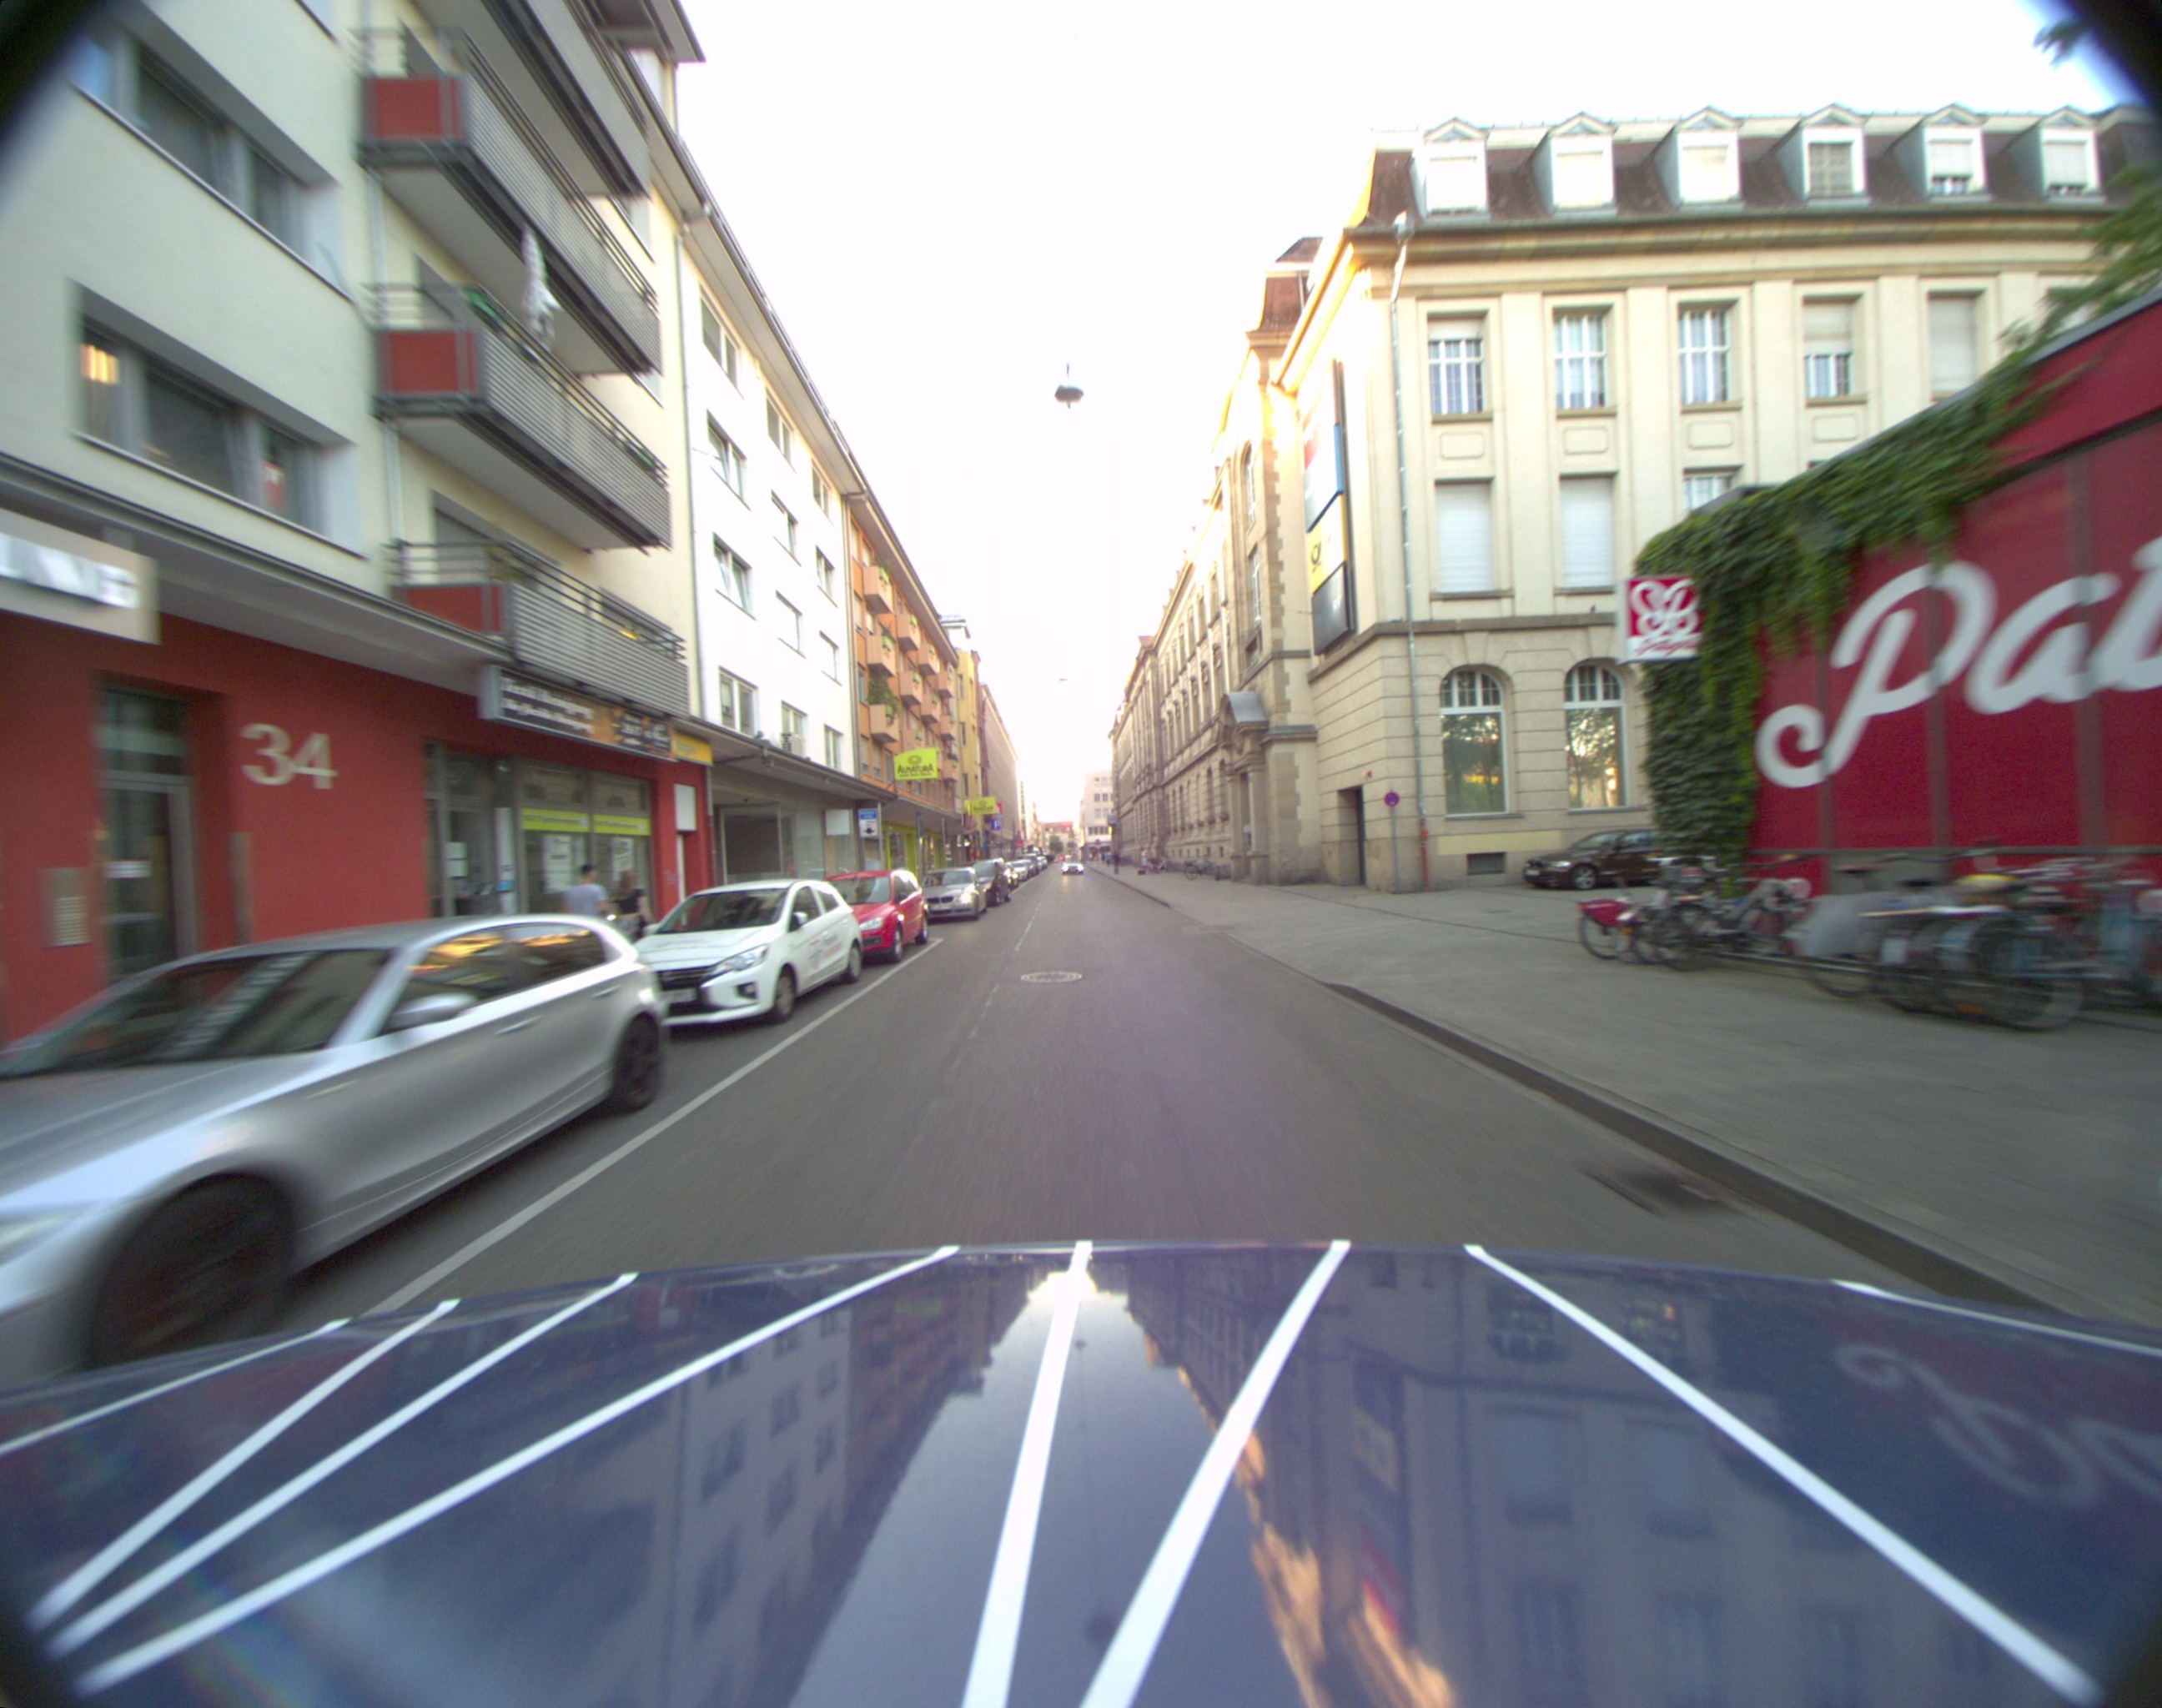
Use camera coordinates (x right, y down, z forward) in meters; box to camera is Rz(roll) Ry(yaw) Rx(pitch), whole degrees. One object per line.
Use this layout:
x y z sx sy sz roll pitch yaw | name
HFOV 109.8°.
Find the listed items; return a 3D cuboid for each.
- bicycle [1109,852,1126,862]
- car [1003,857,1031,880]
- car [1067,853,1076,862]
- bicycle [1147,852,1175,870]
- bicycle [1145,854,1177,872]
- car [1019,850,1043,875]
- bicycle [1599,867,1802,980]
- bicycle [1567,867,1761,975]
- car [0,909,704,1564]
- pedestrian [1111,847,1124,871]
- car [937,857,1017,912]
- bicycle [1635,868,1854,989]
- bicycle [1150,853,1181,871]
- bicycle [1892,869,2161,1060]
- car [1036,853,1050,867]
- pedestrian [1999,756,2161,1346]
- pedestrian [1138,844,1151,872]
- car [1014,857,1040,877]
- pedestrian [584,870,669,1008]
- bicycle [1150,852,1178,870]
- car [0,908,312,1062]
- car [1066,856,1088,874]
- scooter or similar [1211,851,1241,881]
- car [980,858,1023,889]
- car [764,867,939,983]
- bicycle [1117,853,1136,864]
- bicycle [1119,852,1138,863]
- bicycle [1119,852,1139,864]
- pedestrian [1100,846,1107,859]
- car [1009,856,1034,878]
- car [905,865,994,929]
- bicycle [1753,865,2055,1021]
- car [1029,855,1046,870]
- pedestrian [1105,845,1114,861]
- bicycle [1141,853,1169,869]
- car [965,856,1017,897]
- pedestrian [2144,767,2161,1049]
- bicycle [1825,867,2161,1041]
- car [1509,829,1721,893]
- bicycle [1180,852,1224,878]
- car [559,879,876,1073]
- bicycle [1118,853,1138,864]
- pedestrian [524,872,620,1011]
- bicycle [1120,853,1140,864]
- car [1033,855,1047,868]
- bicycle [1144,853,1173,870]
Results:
4.780 0.414 99.717 2.025 1.102 0.730 -5 1 -7 | bicycle
-4.496 1.025 53.726 1.696 1.403 4.638 -5 0 -3 | car
-2.063 0.791 164.406 1.824 1.728 3.999 -2 0 -2 | car
5.577 0.489 53.002 1.800 1.101 0.500 -4 1 -6 | bicycle
5.235 0.570 49.942 1.942 1.055 0.619 -4 1 -3 | bicycle
-4.633 0.755 71.096 1.851 2.046 5.053 -4 1 -1 | car
6.765 0.741 8.332 1.799 1.101 0.500 -3 1 -2 | bicycle
6.632 0.748 8.676 1.799 1.101 0.500 -3 1 -1 | bicycle
-3.786 1.210 3.717 1.703 1.443 4.458 -5 0 -2 | car
2.770 0.339 57.347 0.811 1.740 0.969 -4 1 -1 | pedestrian
-3.529 0.989 26.669 1.798 1.600 4.487 -5 0 4 | car
6.774 0.743 7.796 1.799 1.101 0.500 -3 1 -2 | bicycle
5.652 0.527 50.989 1.943 1.055 0.619 -4 1 -6 | bicycle
6.612 0.707 5.051 1.798 1.101 0.500 -4 1 2 | bicycle
-5.220 0.819 105.027 1.781 1.656 4.811 -4 1 -3 | car
3.476 0.569 2.081 0.650 1.740 0.985 -3 0 -1 | pedestrian
4.309 0.261 51.602 0.589 1.840 0.754 -5 1 -6 | pedestrian
-4.526 1.090 64.011 1.691 1.444 4.498 -5 0 1 | car
-5.652 1.030 9.479 0.649 1.652 0.655 0 1 1 | pedestrian
5.646 0.499 51.803 1.800 1.101 0.500 -4 1 -6 | bicycle
-11.655 1.449 8.599 1.744 1.329 4.000 -2 0 1 | car
-0.367 0.926 65.079 1.741 1.407 4.681 0 0 -2 | car
6.358 0.506 33.303 1.137 1.225 0.496 -4 1 -13 | scooter or similar
-4.190 1.011 40.877 1.696 1.406 4.756 -5 0 0 | car
-3.785 1.068 13.427 1.717 1.503 4.651 -5 0 -2 | car
5.064 0.465 85.092 1.943 1.072 0.730 -5 1 -7 | bicycle
5.127 0.383 81.738 1.942 1.072 0.748 -5 1 -2 | bicycle
5.246 0.447 83.007 1.943 1.072 0.730 -5 1 -7 | bicycle
3.138 -0.176 106.437 0.778 1.778 0.820 -4 1 -3 | pedestrian
-4.571 0.998 58.896 1.622 1.507 4.173 -5 0 -2 | car
-3.544 1.106 21.294 1.741 1.407 4.681 -5 0 -2 | car
6.608 0.700 6.154 1.798 1.101 0.500 -4 1 2 | bicycle
-5.020 0.963 88.025 1.661 1.439 4.307 -4 1 -1 | car
3.316 -0.133 87.707 0.831 1.735 0.769 -5 1 0 | pedestrian
5.504 0.539 56.469 1.942 1.055 0.619 -4 1 -2 | bicycle
-4.157 0.993 35.909 1.756 1.658 4.756 -5 0 0 | car
4.328 0.525 2.365 0.755 1.739 0.846 -4 0 -1 | pedestrian
6.600 0.703 5.521 1.798 1.101 0.500 -4 1 2 | bicycle
13.148 0.174 18.867 4.015 1.363 1.750 -2 0 -2 | car
5.910 0.516 37.086 1.944 1.055 0.619 -6 2 -15 | bicycle
-3.836 1.169 8.894 1.610 1.503 4.048 -5 0 0 | car
5.166 0.453 83.778 1.943 1.072 0.730 -5 1 -7 | bicycle
-6.335 1.057 9.492 0.649 1.652 0.794 0 1 1 | pedestrian
5.221 0.448 80.822 1.941 1.040 0.721 -4 0 -5 | bicycle
-5.057 0.939 93.998 1.661 1.439 4.444 -4 1 -2 | car
5.642 0.553 55.223 1.943 1.055 0.619 -4 1 -7 | bicycle
